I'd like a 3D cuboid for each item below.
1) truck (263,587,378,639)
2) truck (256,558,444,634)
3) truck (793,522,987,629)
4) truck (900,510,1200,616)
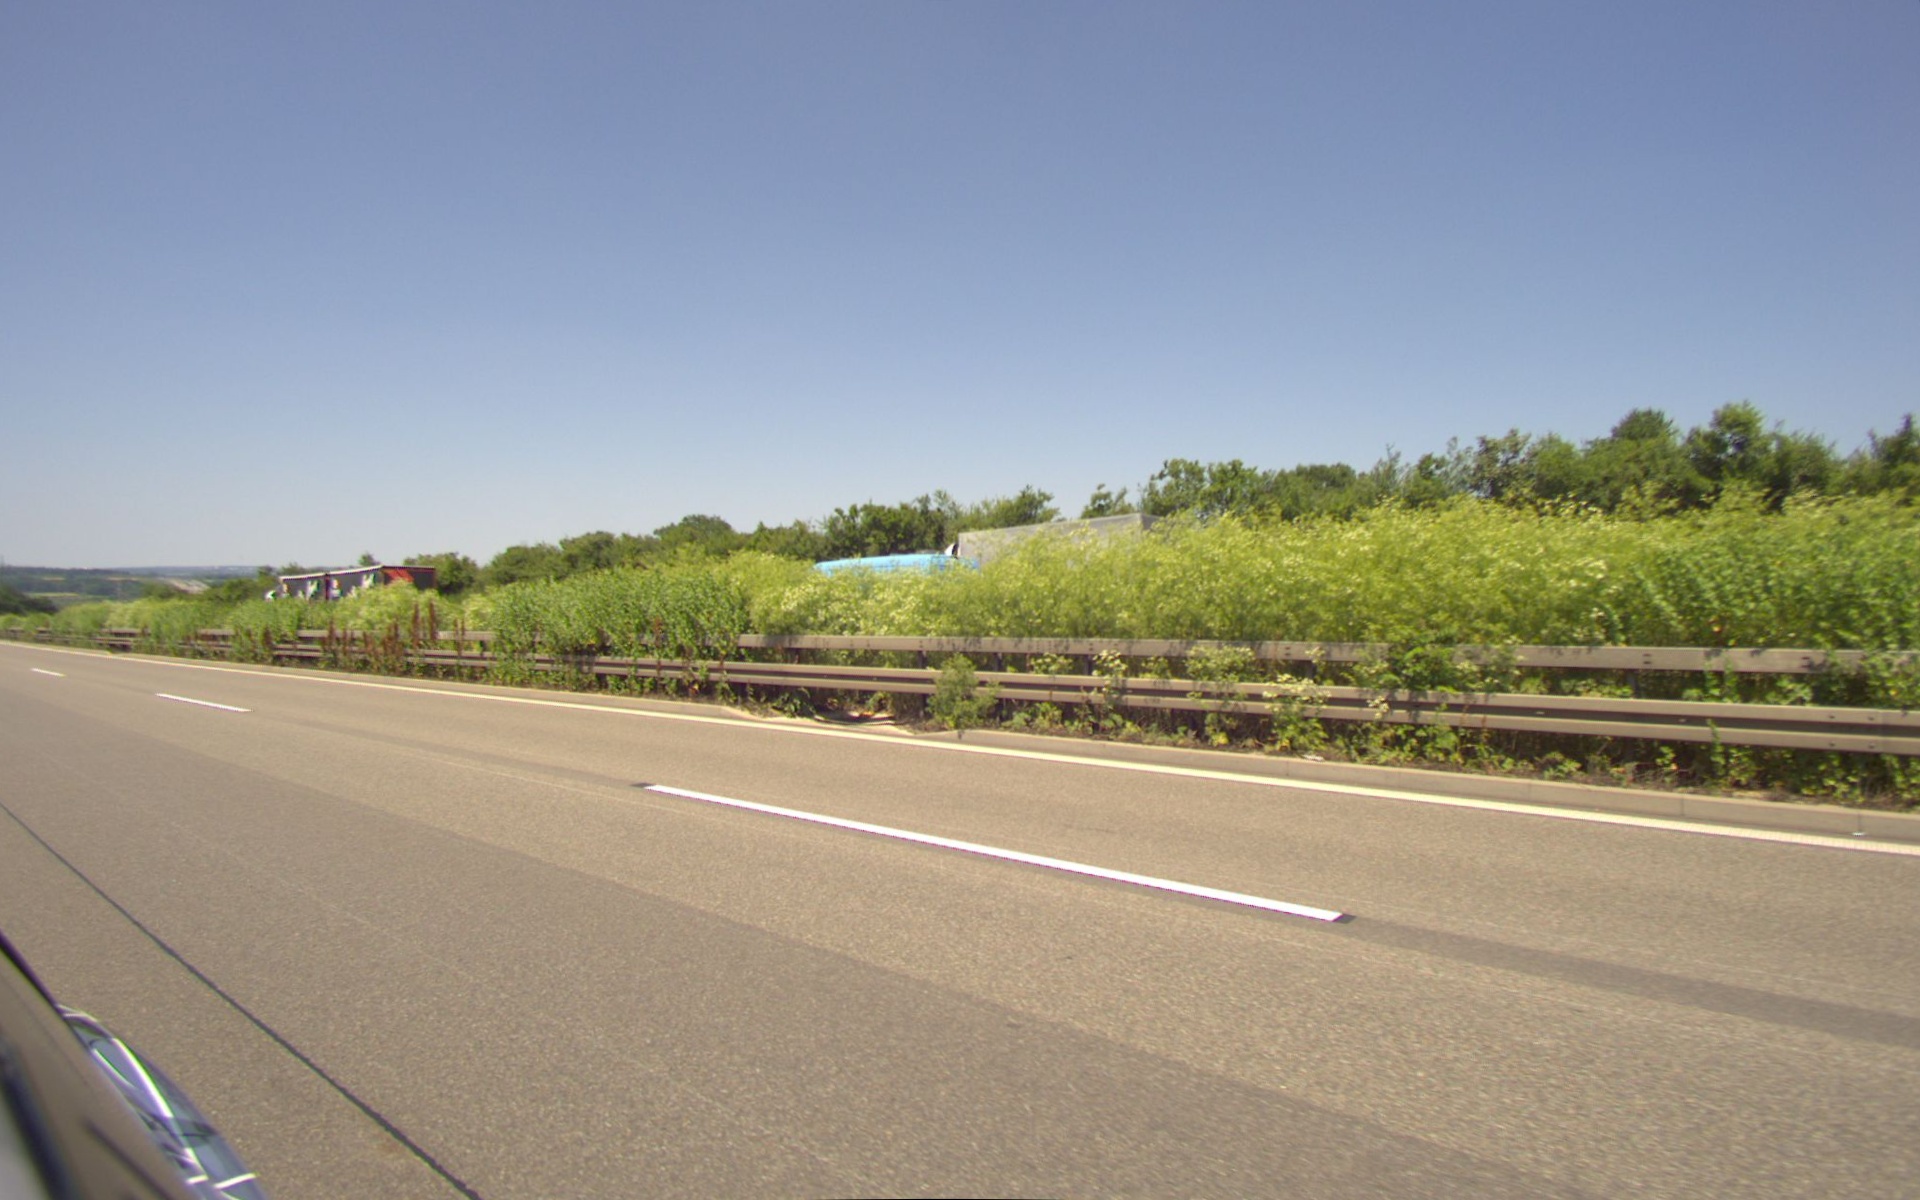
[{"bbox_3d":[-46.429,1.088,73.159,14.670,3.483,2.434,-2,-2,39],"label":"truck"},{"bbox_3d":[-34.680,-0.036,56.820,18.517,3.638,3.197,-2,1,40],"label":"truck"},{"bbox_3d":[-1.542,-0.414,21.402,3.998,2.029,1.836,-2,-2,41],"label":"truck"},{"bbox_3d":[1.897,-0.686,23.482,6.792,2.029,2.466,-2,-2,41],"label":"truck"}]
